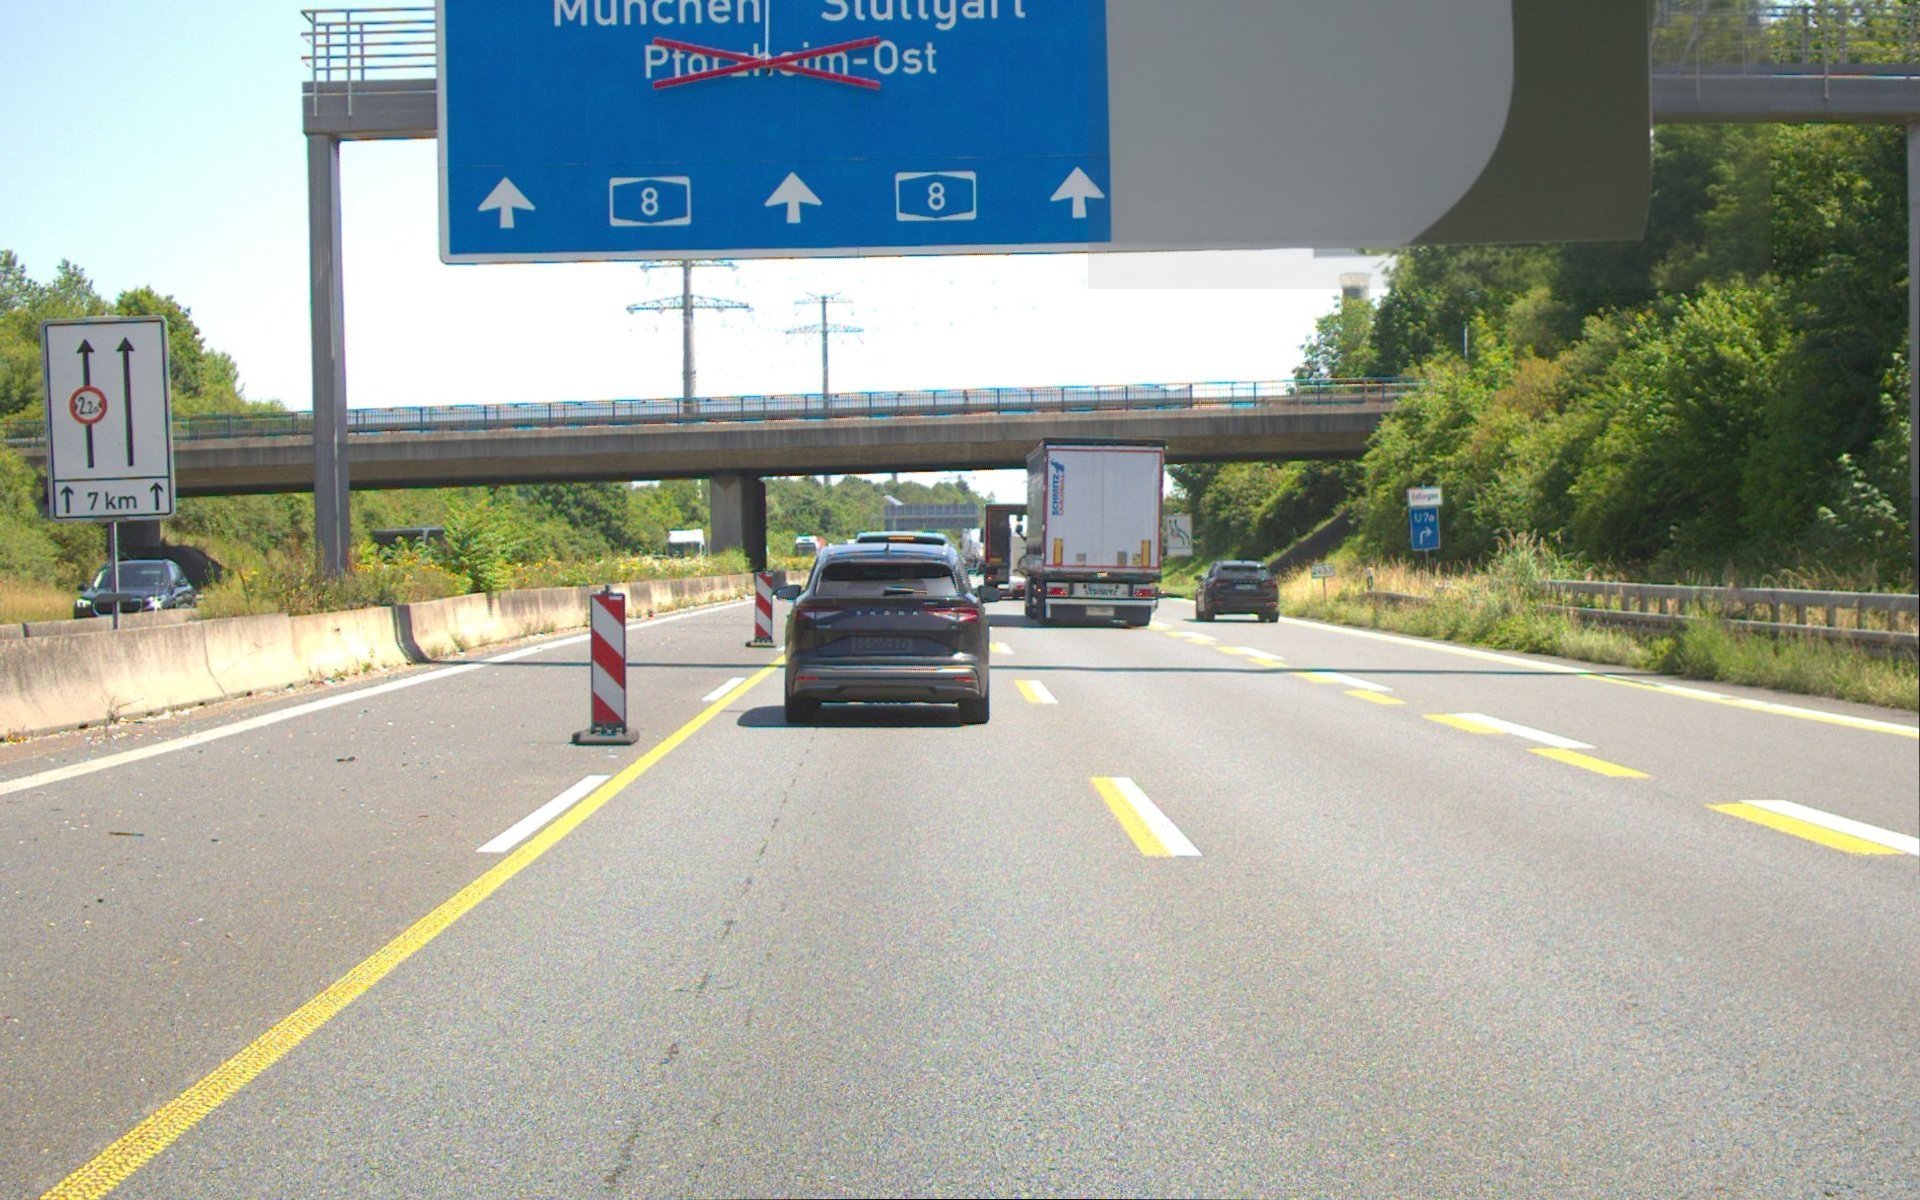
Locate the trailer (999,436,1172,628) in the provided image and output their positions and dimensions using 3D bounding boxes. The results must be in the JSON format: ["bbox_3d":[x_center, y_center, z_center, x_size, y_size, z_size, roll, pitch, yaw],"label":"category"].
[{"bbox_3d":[2.715,-1.526,78.125,3.065,4.029,11.489,0,1,-2],"label":"trailer"}]

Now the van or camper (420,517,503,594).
[{"bbox_3d":[-20.809,-1.861,143.939,2.435,3.136,7.627,-1,1,-1],"label":"van or camper"}]

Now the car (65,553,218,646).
[{"bbox_3d":[-15.696,-0.043,66.137,1.872,1.688,4.498,-1,1,0],"label":"car"}]

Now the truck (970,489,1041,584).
[{"bbox_3d":[2.051,-2.895,158.917,3.078,4.132,13.054,1,1,0],"label":"truck"}]

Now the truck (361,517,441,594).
[{"bbox_3d":[-24.298,-1.949,149.658,2.495,3.248,6.365,-1,1,-1],"label":"truck"}]

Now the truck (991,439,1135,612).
[{"bbox_3d":[2.458,-1.814,84.893,3.024,4.073,7.796,0,1,-2],"label":"truck"}]

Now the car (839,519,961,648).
[{"bbox_3d":[-1.033,-0.311,57.790,1.895,1.835,4.444,2,4,-2],"label":"car"}]

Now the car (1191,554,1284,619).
[{"bbox_3d":[6.674,-0.342,83.093,1.779,1.484,4.464,1,1,-1],"label":"car"}]

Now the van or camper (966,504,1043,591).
[{"bbox_3d":[1.554,-1.869,122.265,2.586,2.958,6.085,2,1,0],"label":"van or camper"}]

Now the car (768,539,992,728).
[{"bbox_3d":[-0.753,0.250,31.736,1.895,1.586,4.443,-1,1,-2],"label":"car"}]
